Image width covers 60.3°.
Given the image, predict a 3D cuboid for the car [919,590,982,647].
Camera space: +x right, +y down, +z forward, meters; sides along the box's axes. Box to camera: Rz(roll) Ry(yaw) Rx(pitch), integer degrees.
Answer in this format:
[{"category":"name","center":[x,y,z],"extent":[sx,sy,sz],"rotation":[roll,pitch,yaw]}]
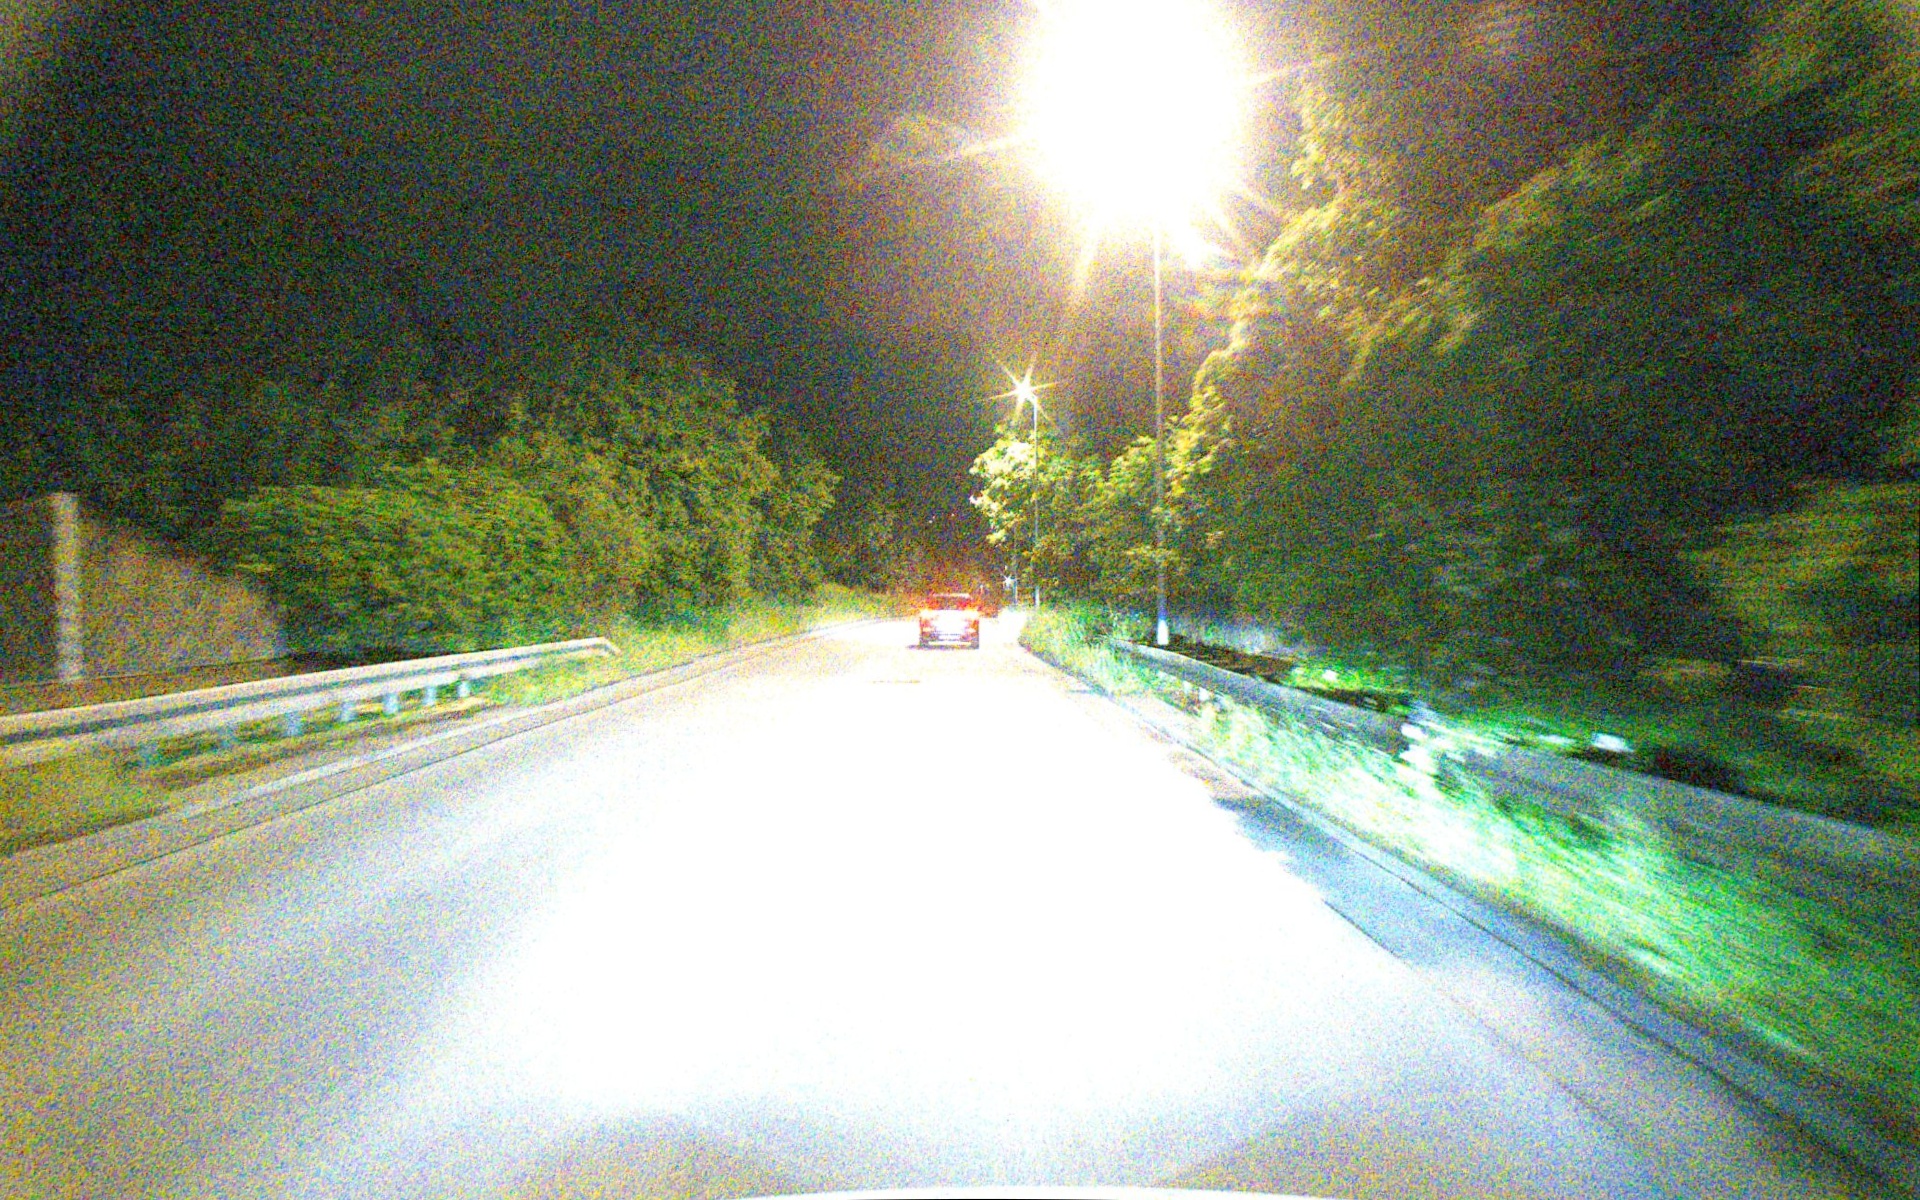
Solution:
[{"category":"car","center":[-0.326,0.520,49.309],"extent":[1.778,1.601,3.942],"rotation":[0,0,-2]}]
